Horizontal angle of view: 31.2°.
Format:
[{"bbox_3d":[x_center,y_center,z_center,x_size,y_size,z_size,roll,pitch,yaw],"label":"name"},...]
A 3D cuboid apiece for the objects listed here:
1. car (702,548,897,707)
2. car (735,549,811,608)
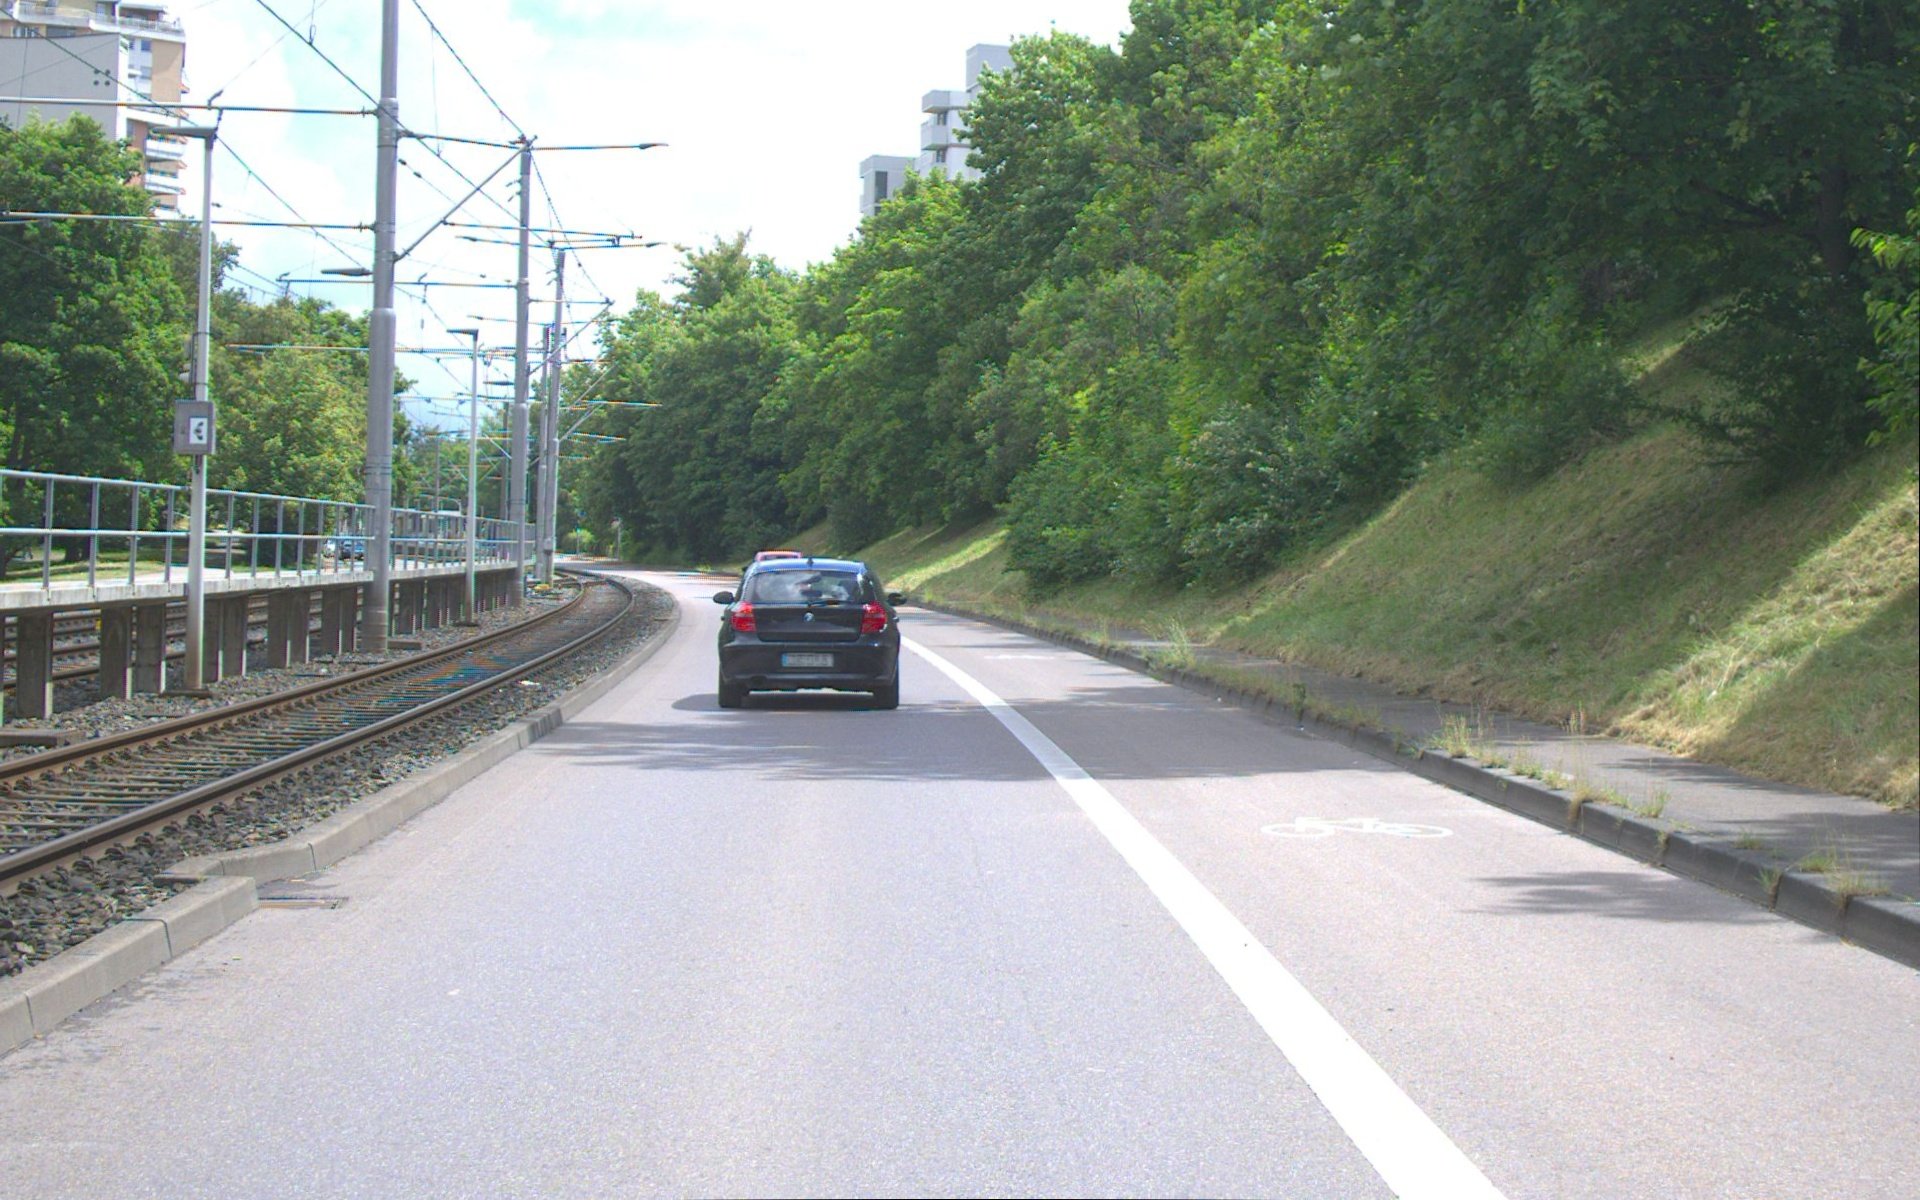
[{"bbox_3d":[-1.600,0.235,33.499,1.781,1.454,3.921,0,1,-4],"label":"car"},{"bbox_3d":[-4.806,-0.554,87.990,1.781,1.455,3.922,1,0,-5],"label":"car"}]
